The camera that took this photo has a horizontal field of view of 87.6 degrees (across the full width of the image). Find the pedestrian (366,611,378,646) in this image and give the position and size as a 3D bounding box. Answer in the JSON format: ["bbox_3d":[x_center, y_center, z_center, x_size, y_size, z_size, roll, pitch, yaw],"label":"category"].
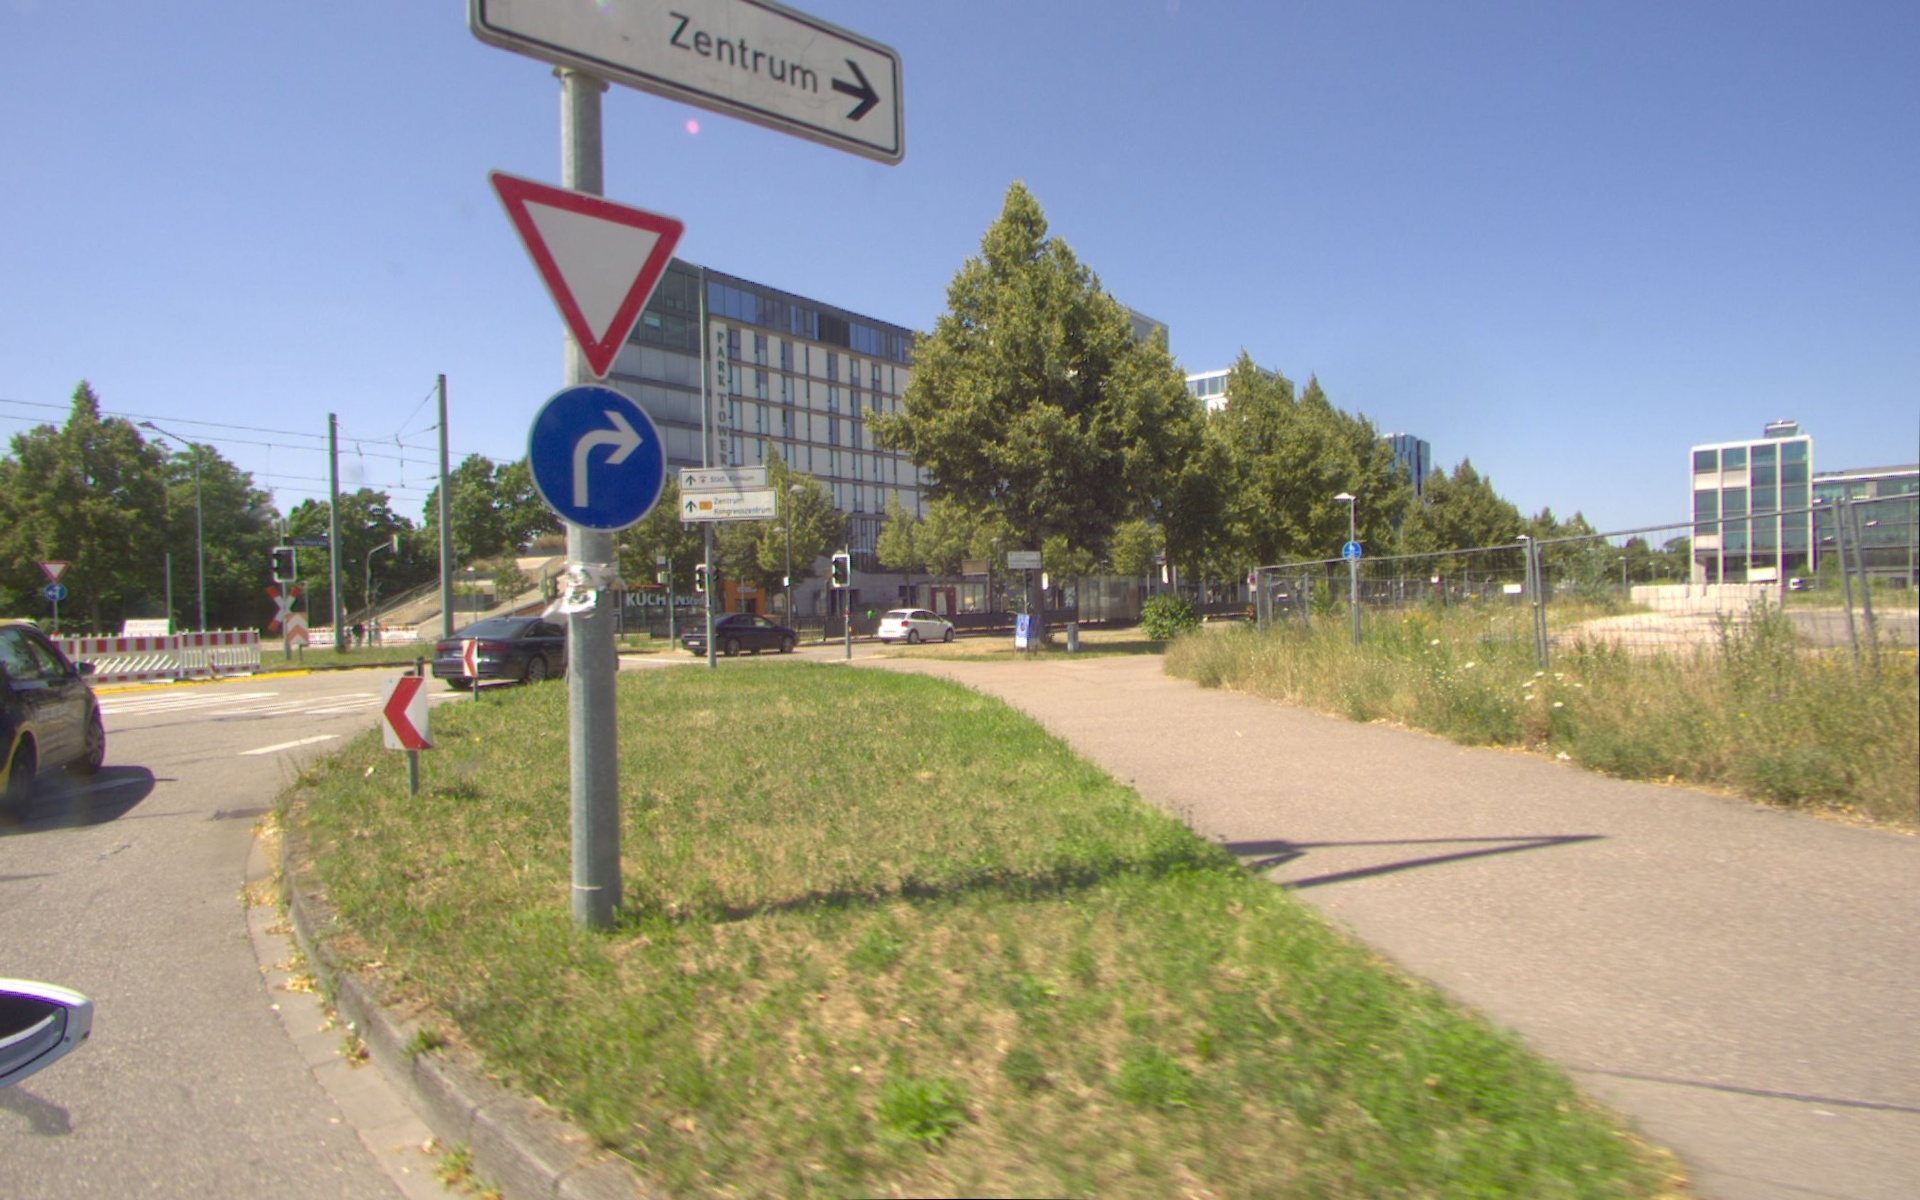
[{"bbox_3d":[-29.567,1.426,50.356,0.287,1.762,0.446,0,1,38],"label":"pedestrian"}]

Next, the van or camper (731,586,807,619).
[{"bbox_3d":[-16.732,0.212,88.038,2.352,2.859,6.741,-1,0,36],"label":"van or camper"}]

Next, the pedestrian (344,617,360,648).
[{"bbox_3d":[-29.740,1.585,48.971,0.347,1.448,0.518,0,1,36],"label":"pedestrian"}]

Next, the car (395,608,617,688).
[{"bbox_3d":[-9.250,0.929,20.938,1.962,1.467,4.648,-1,-1,10],"label":"car"}]

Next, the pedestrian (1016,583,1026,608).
[{"bbox_3d":[4.426,-0.308,72.493,0.405,1.775,0.582,0,1,36],"label":"pedestrian"}]

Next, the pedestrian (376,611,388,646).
[{"bbox_3d":[-29.289,1.430,50.752,0.314,1.762,0.446,0,1,38],"label":"pedestrian"}]

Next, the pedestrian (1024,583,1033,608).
[{"bbox_3d":[4.983,-0.321,73.024,0.405,1.775,0.582,0,1,36],"label":"pedestrian"}]

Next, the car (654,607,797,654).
[{"bbox_3d":[-7.841,0.997,33.963,1.971,1.467,4.734,-1,-1,31],"label":"car"}]

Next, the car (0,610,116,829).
[{"bbox_3d":[-8.141,0.841,7.988,1.602,1.470,3.963,0,-1,-32],"label":"car"}]

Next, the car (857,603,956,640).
[{"bbox_3d":[-2.215,0.893,42.546,1.833,1.467,4.321,-1,-1,37],"label":"car"}]

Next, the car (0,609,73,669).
[{"bbox_3d":[-26.231,1.053,27.666,4.316,1.506,1.984,-1,1,41],"label":"car"}]
